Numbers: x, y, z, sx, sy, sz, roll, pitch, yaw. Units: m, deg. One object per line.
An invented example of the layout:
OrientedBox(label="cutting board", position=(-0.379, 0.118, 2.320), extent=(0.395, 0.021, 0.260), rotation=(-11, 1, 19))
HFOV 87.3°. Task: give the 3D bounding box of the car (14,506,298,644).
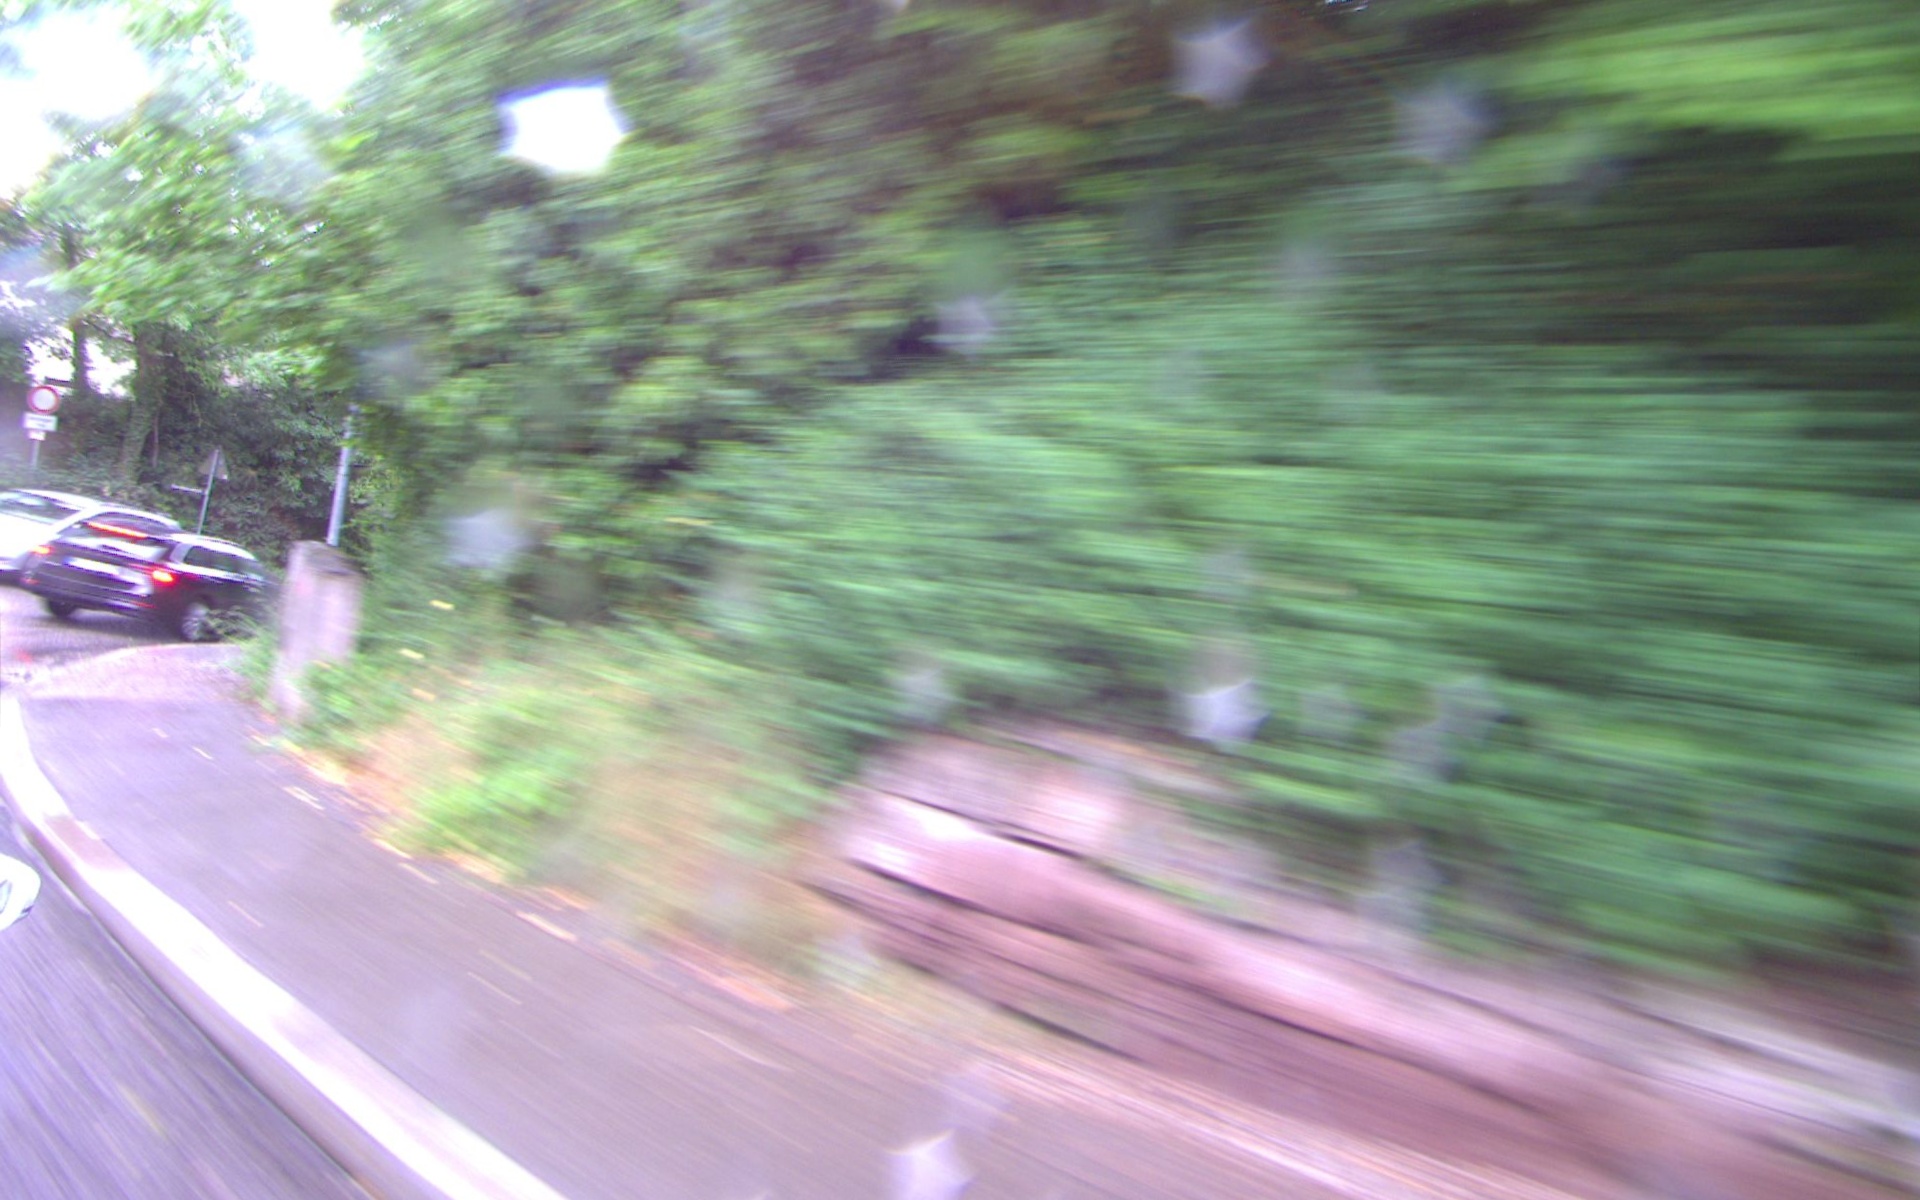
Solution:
OrientedBox(label="car", position=(-11.547, -0.351, 14.823), extent=(1.681, 1.466, 3.986), rotation=(10, -1, -16))

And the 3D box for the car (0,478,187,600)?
OrientedBox(label="car", position=(-15.018, -1.049, 16.435), extent=(1.651, 1.551, 4.122), rotation=(13, -4, -6))
